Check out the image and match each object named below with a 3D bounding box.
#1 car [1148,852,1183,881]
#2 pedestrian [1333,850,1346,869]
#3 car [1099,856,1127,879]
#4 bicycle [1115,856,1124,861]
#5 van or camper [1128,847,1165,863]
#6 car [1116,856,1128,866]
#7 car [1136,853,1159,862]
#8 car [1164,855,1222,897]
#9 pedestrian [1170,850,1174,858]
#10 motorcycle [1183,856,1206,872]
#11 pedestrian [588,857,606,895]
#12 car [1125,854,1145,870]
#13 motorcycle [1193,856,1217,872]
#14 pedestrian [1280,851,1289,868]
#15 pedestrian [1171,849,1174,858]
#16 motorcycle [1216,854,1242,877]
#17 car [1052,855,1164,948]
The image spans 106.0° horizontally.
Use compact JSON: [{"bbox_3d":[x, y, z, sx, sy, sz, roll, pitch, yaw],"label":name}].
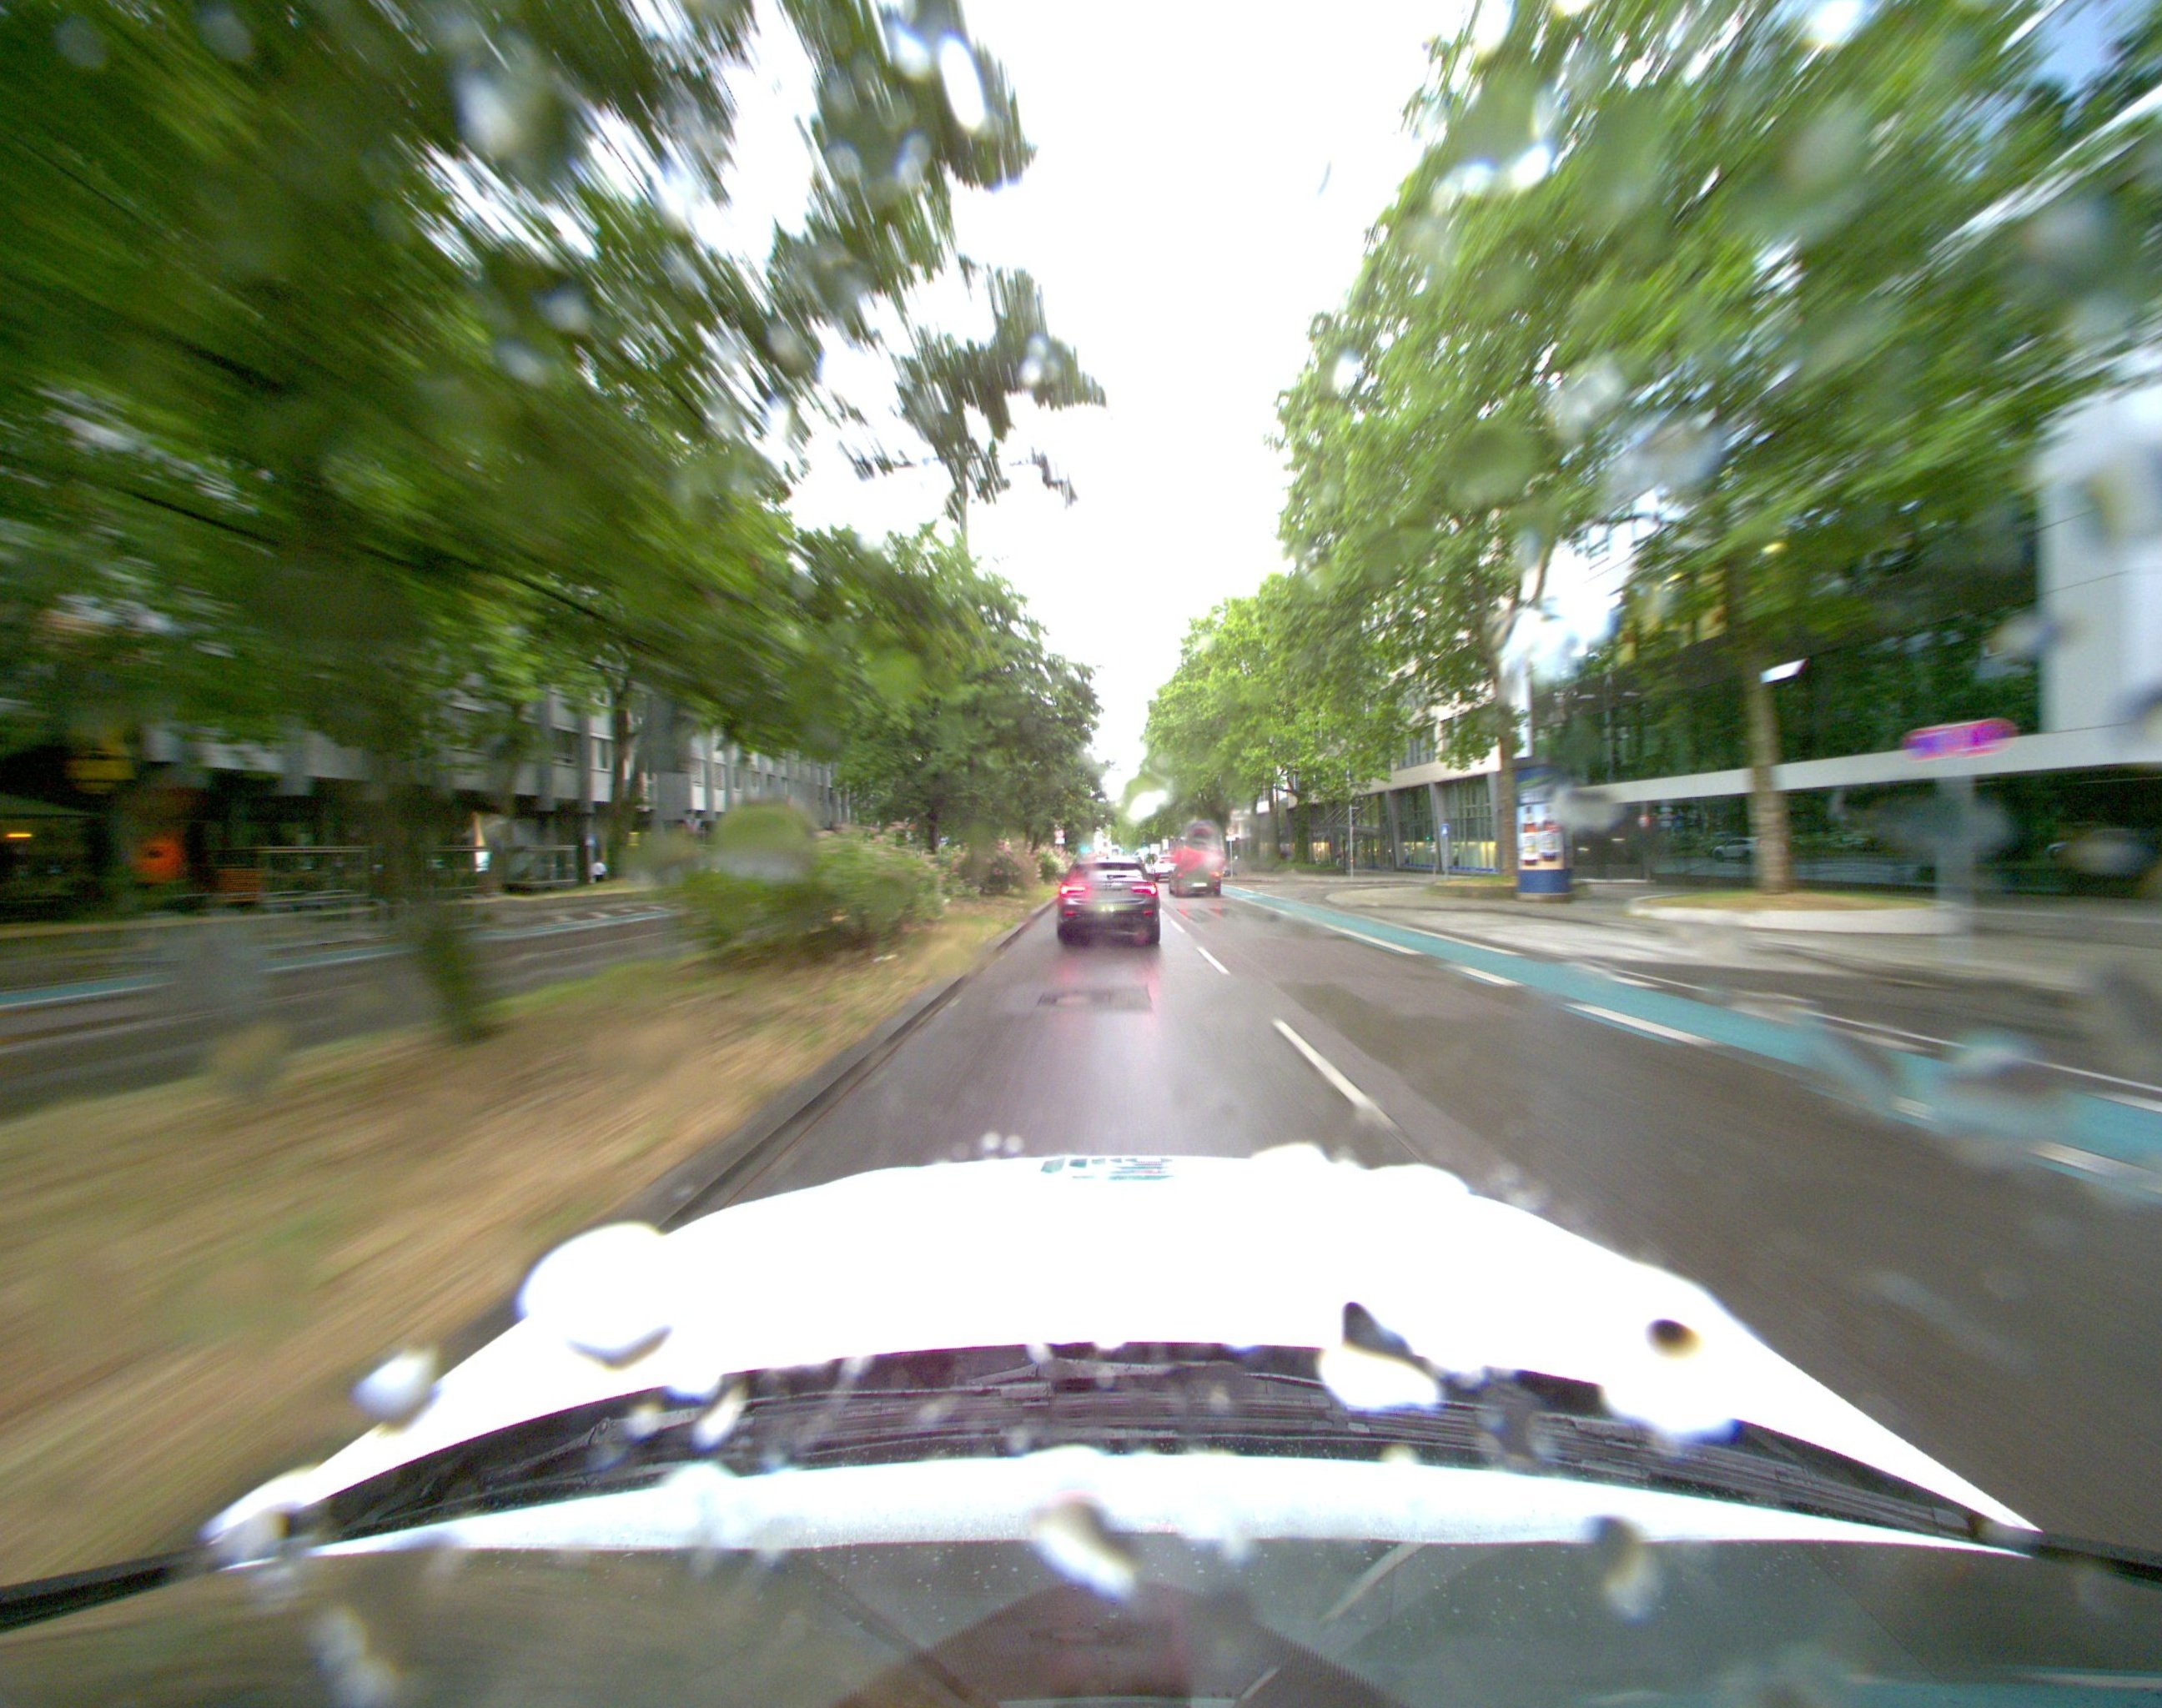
[{"bbox_3d":[5.164,0.765,50.285,1.843,1.669,4.040,-1,0,1],"label":"car"},{"bbox_3d":[23.373,0.500,73.655,0.720,1.693,0.833,-2,0,44],"label":"pedestrian"},{"bbox_3d":[2.215,0.897,56.230,1.843,1.523,4.040,-1,0,1],"label":"car"},{"bbox_3d":[10.474,1.232,221.817,2.335,1.312,0.708,-1,0,-7],"label":"bicycle"},{"bbox_3d":[11.679,0.193,145.321,6.008,2.558,2.117,-2,-1,28],"label":"van or camper"},{"bbox_3d":[6.704,1.124,134.593,1.843,1.523,4.040,-1,0,1],"label":"car"},{"bbox_3d":[11.417,0.650,139.364,3.618,1.547,1.723,-1,0,20],"label":"car"},{"bbox_3d":[4.412,0.830,32.632,1.843,1.523,4.040,-1,0,1],"label":"car"},{"bbox_3d":[18.861,-0.028,168.733,0.802,1.696,1.187,-1,0,1],"label":"pedestrian"},{"bbox_3d":[10.473,0.897,75.273,1.962,1.373,0.724,-3,1,-20],"label":"motorcycle"},{"bbox_3d":[-22.955,1.048,38.639,0.545,1.807,0.522,-1,-1,2],"label":"pedestrian"},{"bbox_3d":[5.447,0.802,81.931,1.843,1.523,4.040,-1,0,1],"label":"car"},{"bbox_3d":[10.436,0.838,68.505,2.069,1.213,0.677,-4,-1,-34],"label":"motorcycle"},{"bbox_3d":[22.640,0.594,90.757,0.822,1.803,0.730,-1,-1,4],"label":"pedestrian"},{"bbox_3d":[18.422,-0.013,163.657,0.551,1.805,0.761,0,-1,-2],"label":"pedestrian"},{"bbox_3d":[10.021,0.771,55.082,0.676,1.367,1.958,-6,-1,41],"label":"motorcycle"},{"bbox_3d":[0.481,0.805,15.654,1.843,1.523,4.039,-1,0,1],"label":"car"}]
